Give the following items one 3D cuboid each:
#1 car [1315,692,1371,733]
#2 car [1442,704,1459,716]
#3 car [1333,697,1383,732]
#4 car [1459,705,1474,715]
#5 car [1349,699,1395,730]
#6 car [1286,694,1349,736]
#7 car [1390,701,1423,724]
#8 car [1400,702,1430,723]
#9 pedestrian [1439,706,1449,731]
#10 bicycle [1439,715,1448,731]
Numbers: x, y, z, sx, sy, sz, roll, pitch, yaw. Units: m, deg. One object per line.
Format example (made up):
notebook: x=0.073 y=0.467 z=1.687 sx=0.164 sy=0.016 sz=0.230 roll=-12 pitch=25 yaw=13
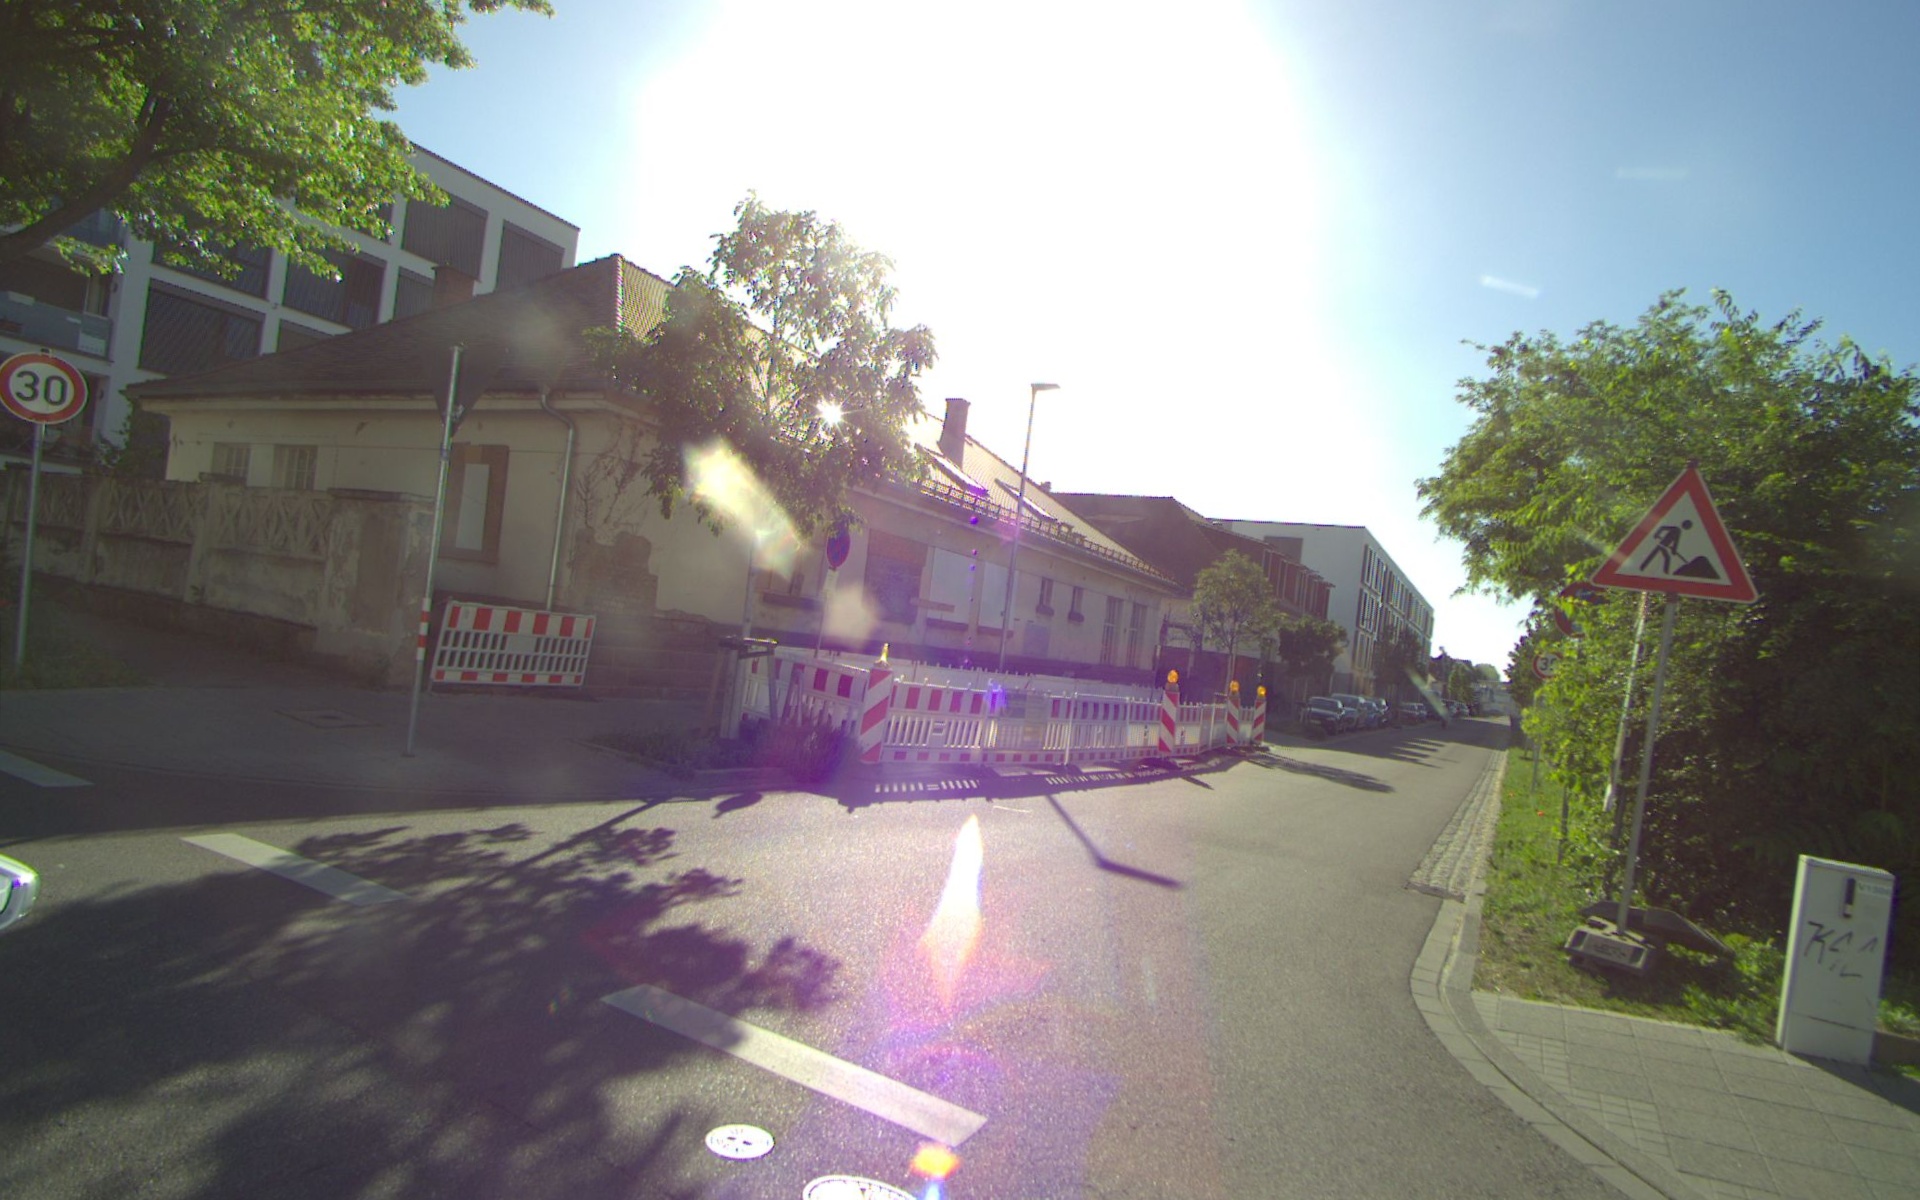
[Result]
car: x=17.779 y=5.221 z=46.642 sx=1.784 sy=1.547 sz=3.324 roll=6 pitch=-2 yaw=30
car: x=68.474 y=15.336 z=140.364 sx=1.784 sy=1.429 sz=3.324 roll=6 pitch=-3 yaw=30
car: x=20.233 y=5.818 z=51.039 sx=1.784 sy=1.429 sz=3.324 roll=6 pitch=-3 yaw=30
car: x=82.675 y=18.002 z=164.238 sx=1.784 sy=1.429 sz=3.324 roll=6 pitch=-3 yaw=30
car: x=22.680 y=6.292 z=55.301 sx=1.784 sy=1.429 sz=3.324 roll=6 pitch=-3 yaw=30
car: x=14.967 y=4.792 z=42.009 sx=1.784 sy=1.423 sz=3.324 roll=6 pitch=-3 yaw=30
car: x=33.076 y=8.313 z=74.447 sx=1.784 sy=1.429 sz=3.324 roll=6 pitch=-3 yaw=30
car: x=37.336 y=9.265 z=82.442 sx=1.784 sy=1.429 sz=3.324 roll=6 pitch=-3 yaw=30
pedestrian: x=35.258 y=8.632 z=73.265 sx=0.471 sy=1.740 sz=0.485 roll=6 pitch=-1 yaw=27
bicycle: x=35.130 y=8.943 z=73.061 sx=0.432 sy=1.109 sz=1.660 roll=7 pitch=-2 yaw=27
